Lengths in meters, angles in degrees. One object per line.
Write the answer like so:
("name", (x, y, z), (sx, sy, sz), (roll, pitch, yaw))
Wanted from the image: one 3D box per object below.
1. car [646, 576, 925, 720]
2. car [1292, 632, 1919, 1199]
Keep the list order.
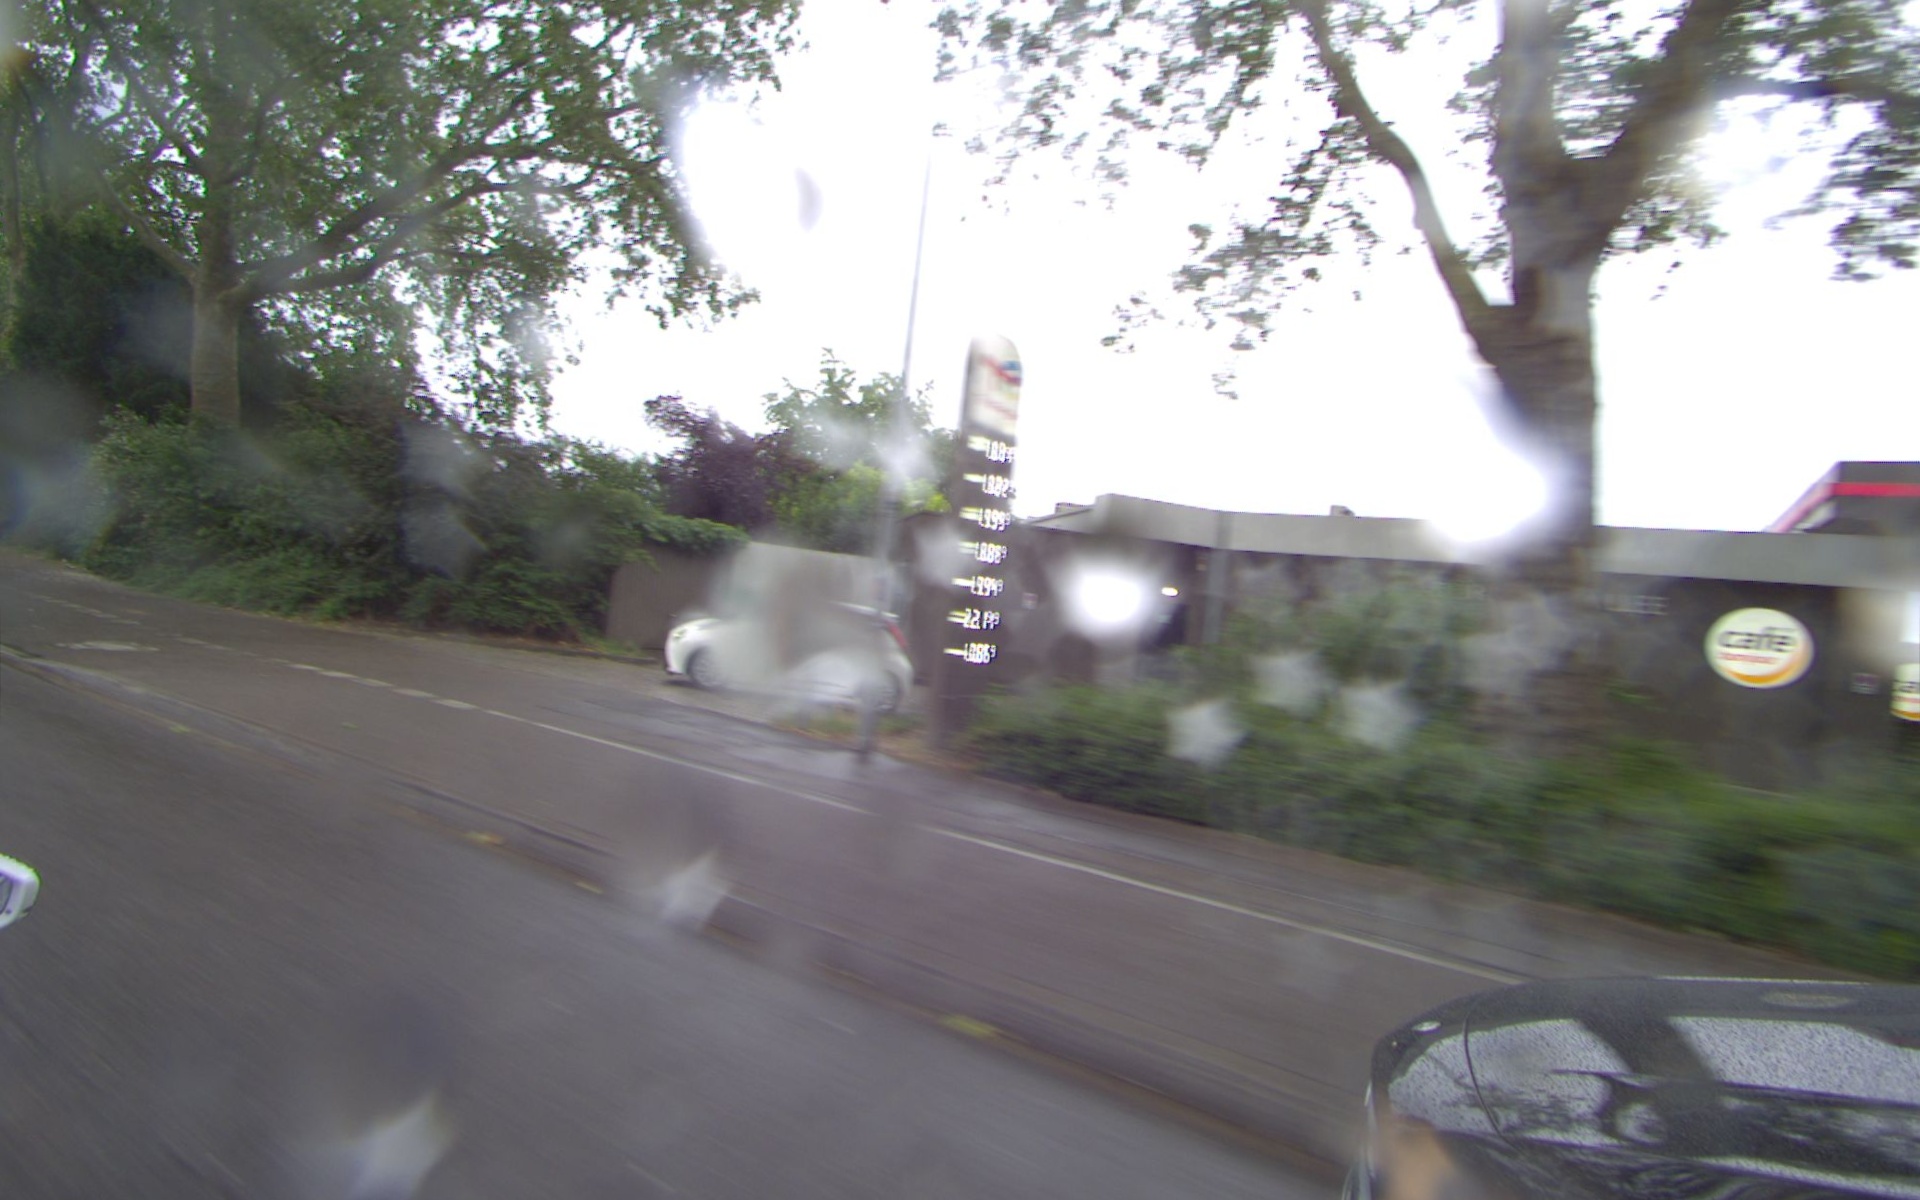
("car", (-2.402, 0.676, 14.163), (3.497, 1.448, 1.607), (8, -2, -9))
("car", (2.748, 1.096, 1.046), (4.347, 1.547, 1.821), (6, -3, 30))
